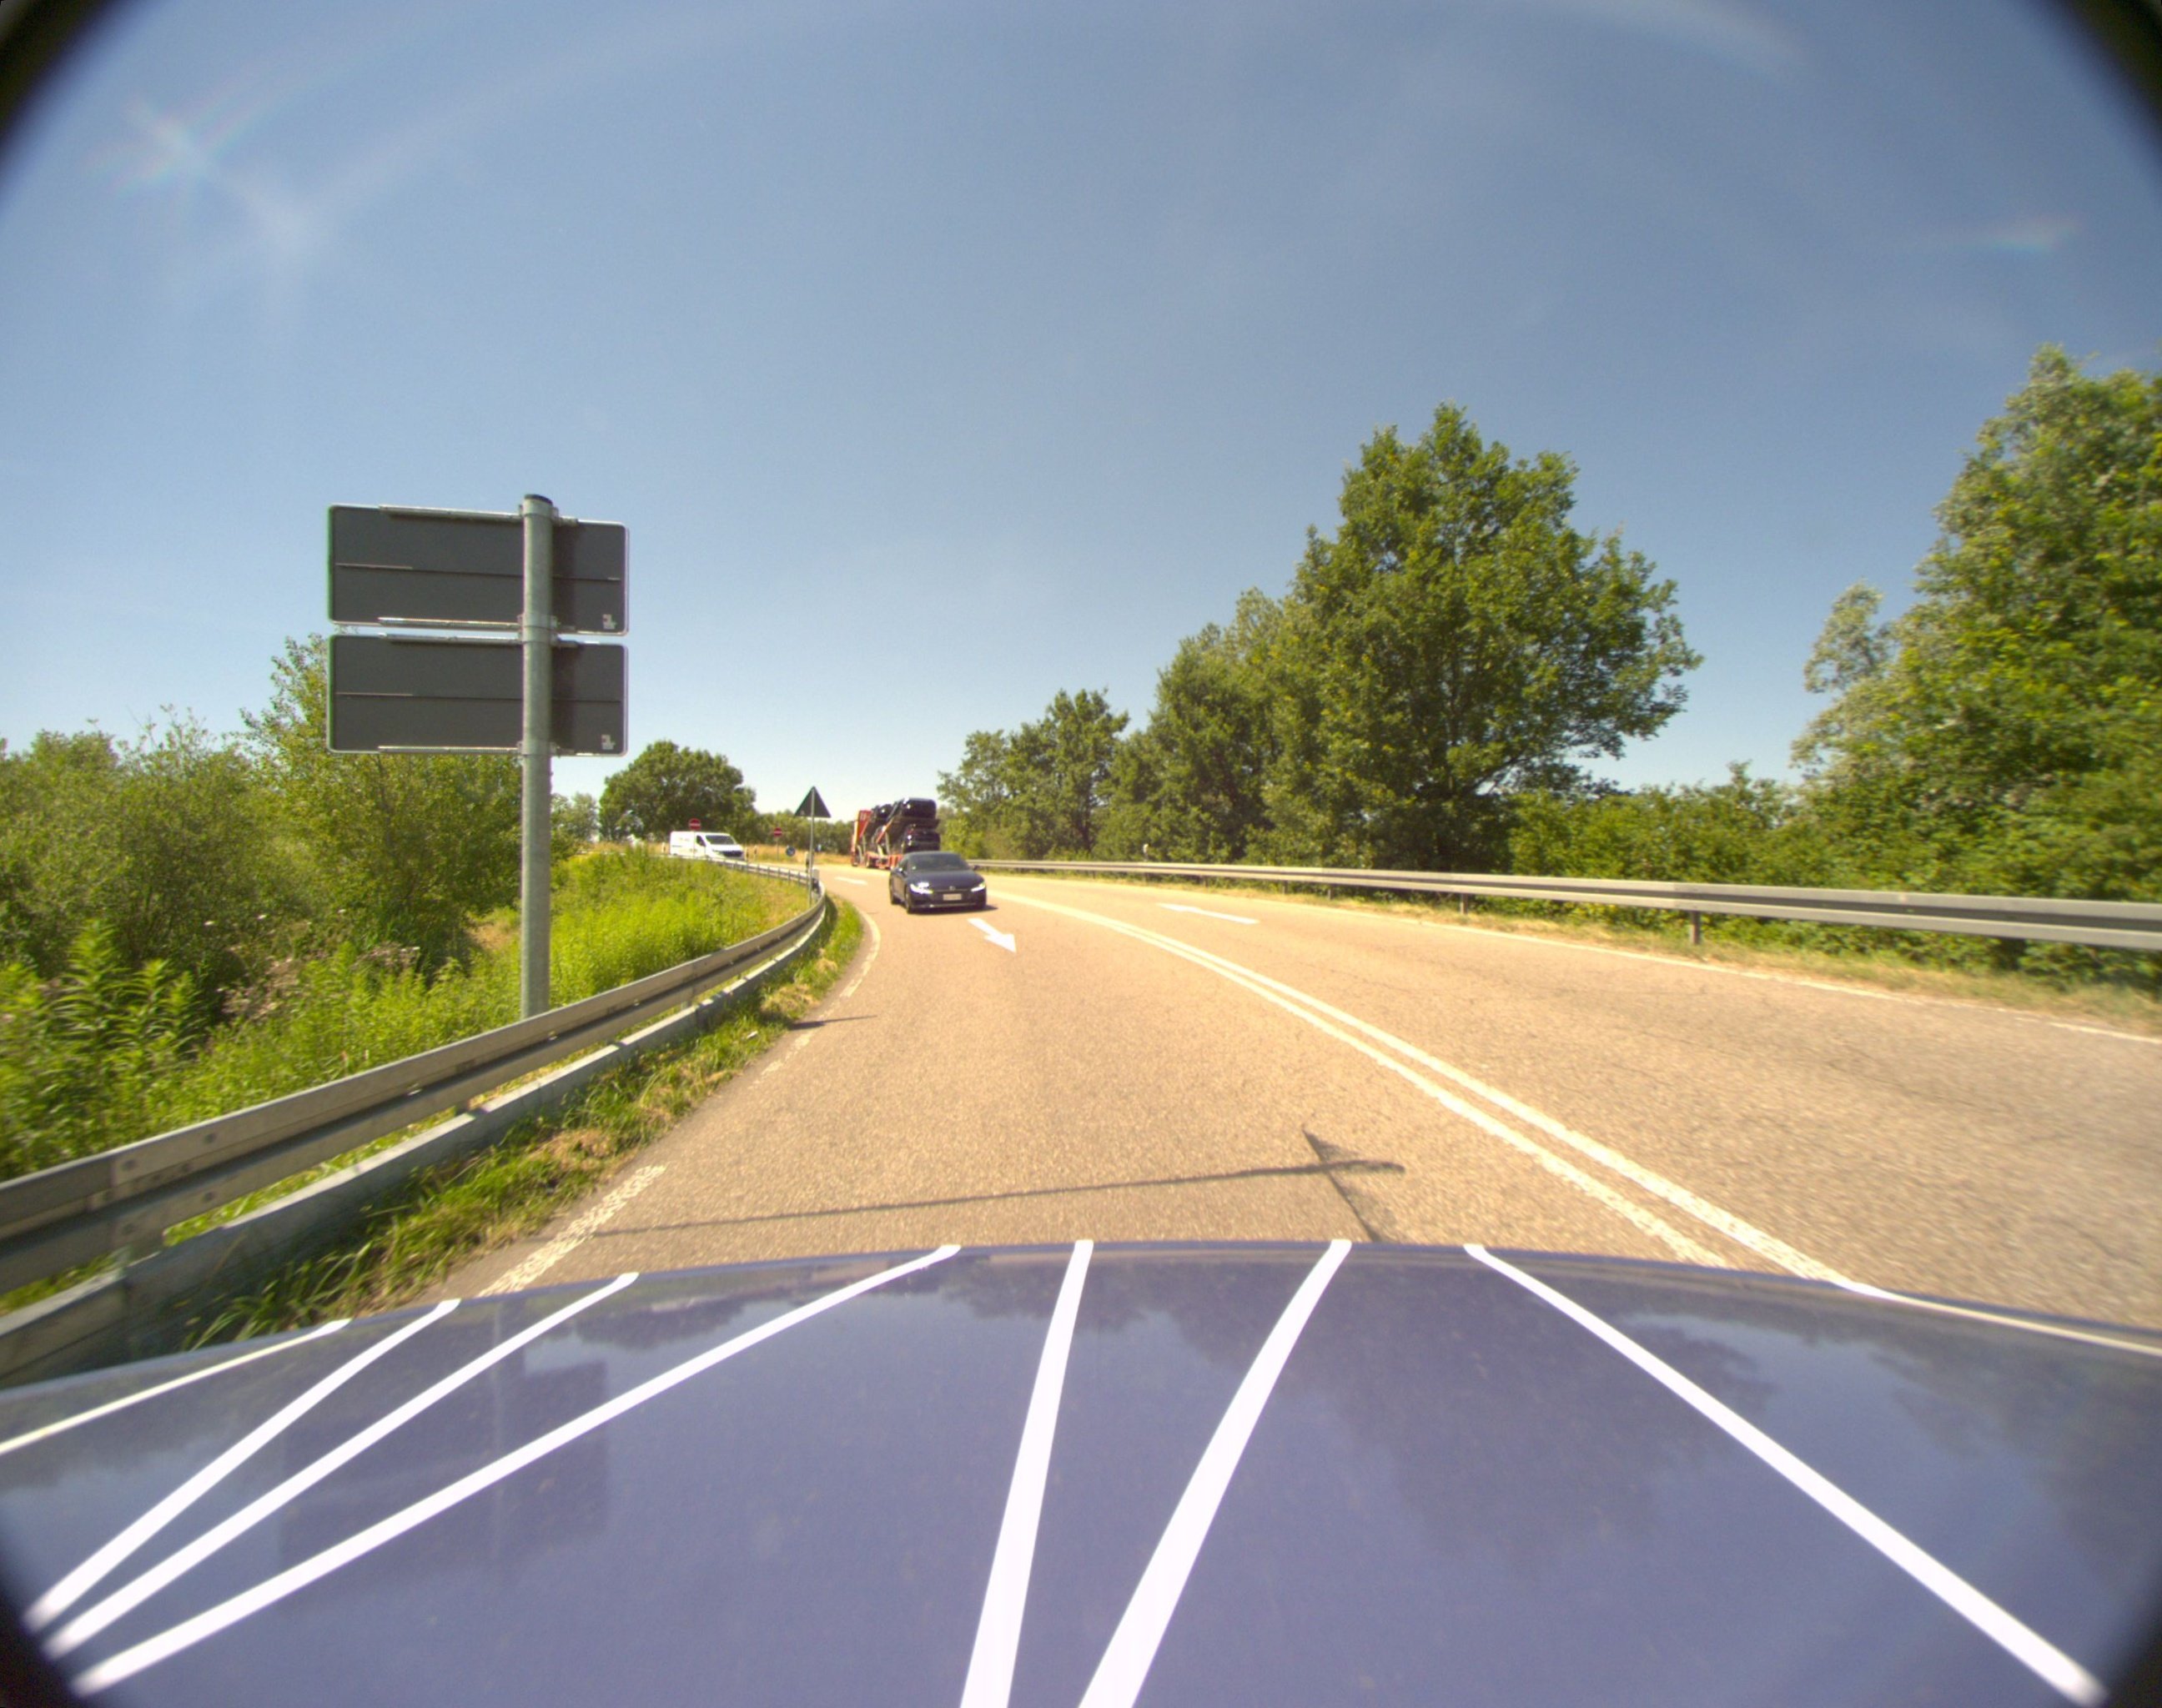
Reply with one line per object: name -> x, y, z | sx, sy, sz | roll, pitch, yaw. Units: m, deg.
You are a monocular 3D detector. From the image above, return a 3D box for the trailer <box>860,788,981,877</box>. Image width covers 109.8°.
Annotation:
trailer -> -8.886, -1.087, 39.932 | 2.805, 3.877, 13.953 | -2, 2, -26

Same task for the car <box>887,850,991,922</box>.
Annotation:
car -> -3.743, 0.709, 19.347 | 1.845, 1.423, 4.524 | -4, 3, -19

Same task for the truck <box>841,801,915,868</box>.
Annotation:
truck -> -13.171, -1.248, 48.695 | 2.802, 3.877, 8.759 | -2, 2, -26

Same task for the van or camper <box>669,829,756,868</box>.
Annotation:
van or camper -> -20.880, -0.292, 42.969 | 5.432, 2.020, 2.013 | -1, 3, 36
